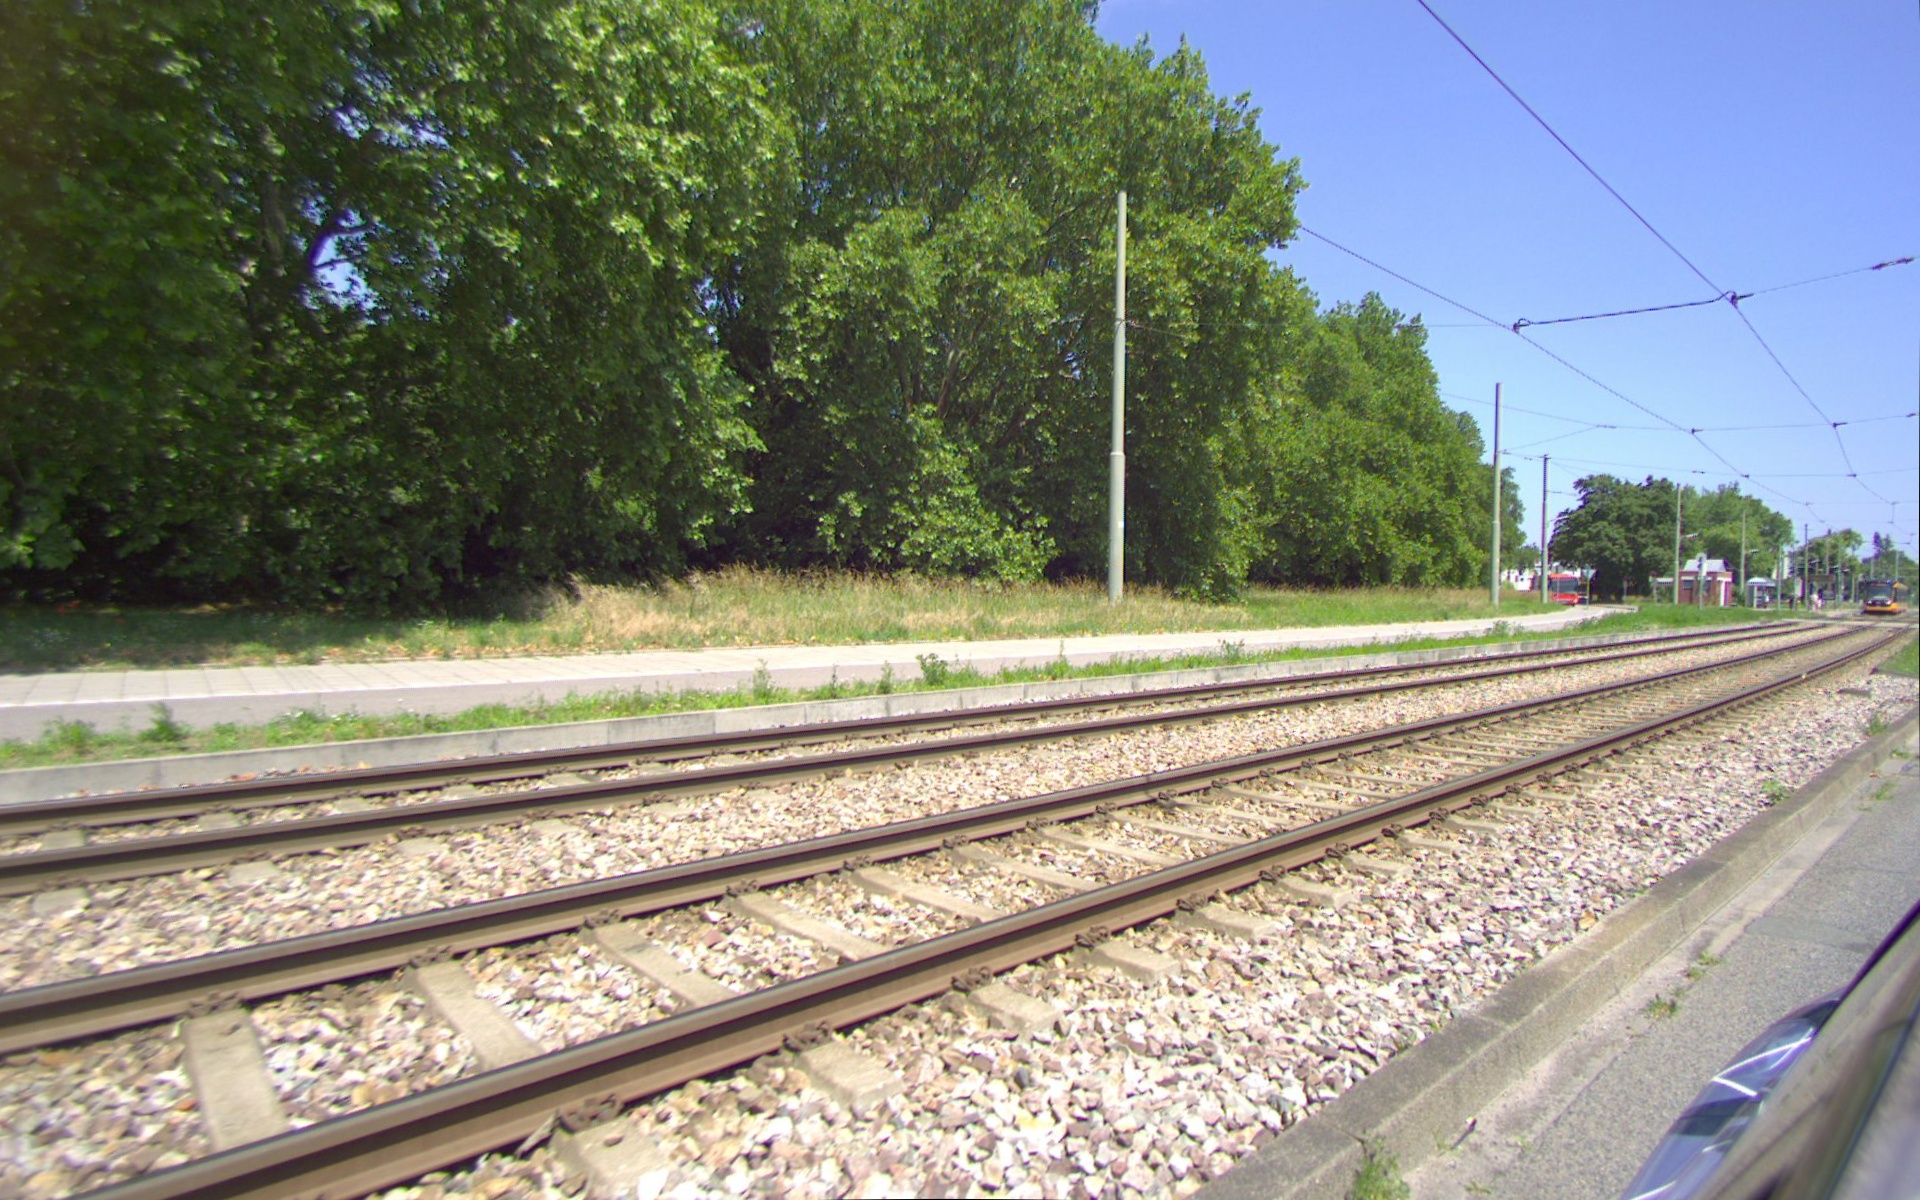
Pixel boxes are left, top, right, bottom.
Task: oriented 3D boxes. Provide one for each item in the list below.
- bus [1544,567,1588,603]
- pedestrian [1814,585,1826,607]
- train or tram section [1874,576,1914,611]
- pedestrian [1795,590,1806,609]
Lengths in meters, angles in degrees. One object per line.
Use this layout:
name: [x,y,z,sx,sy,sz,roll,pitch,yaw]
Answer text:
bus: [61.859,-1.539,103.531,2.741,3.482,12.333,0,1,26]
pedestrian: [69.823,-0.353,82.209,0.632,1.781,0.807,0,0,33]
train or tram section: [94.680,-0.673,102.556,7.138,3.364,2.521,0,2,-44]
pedestrian: [84.241,-0.054,101.385,0.646,1.786,0.707,0,2,-42]
